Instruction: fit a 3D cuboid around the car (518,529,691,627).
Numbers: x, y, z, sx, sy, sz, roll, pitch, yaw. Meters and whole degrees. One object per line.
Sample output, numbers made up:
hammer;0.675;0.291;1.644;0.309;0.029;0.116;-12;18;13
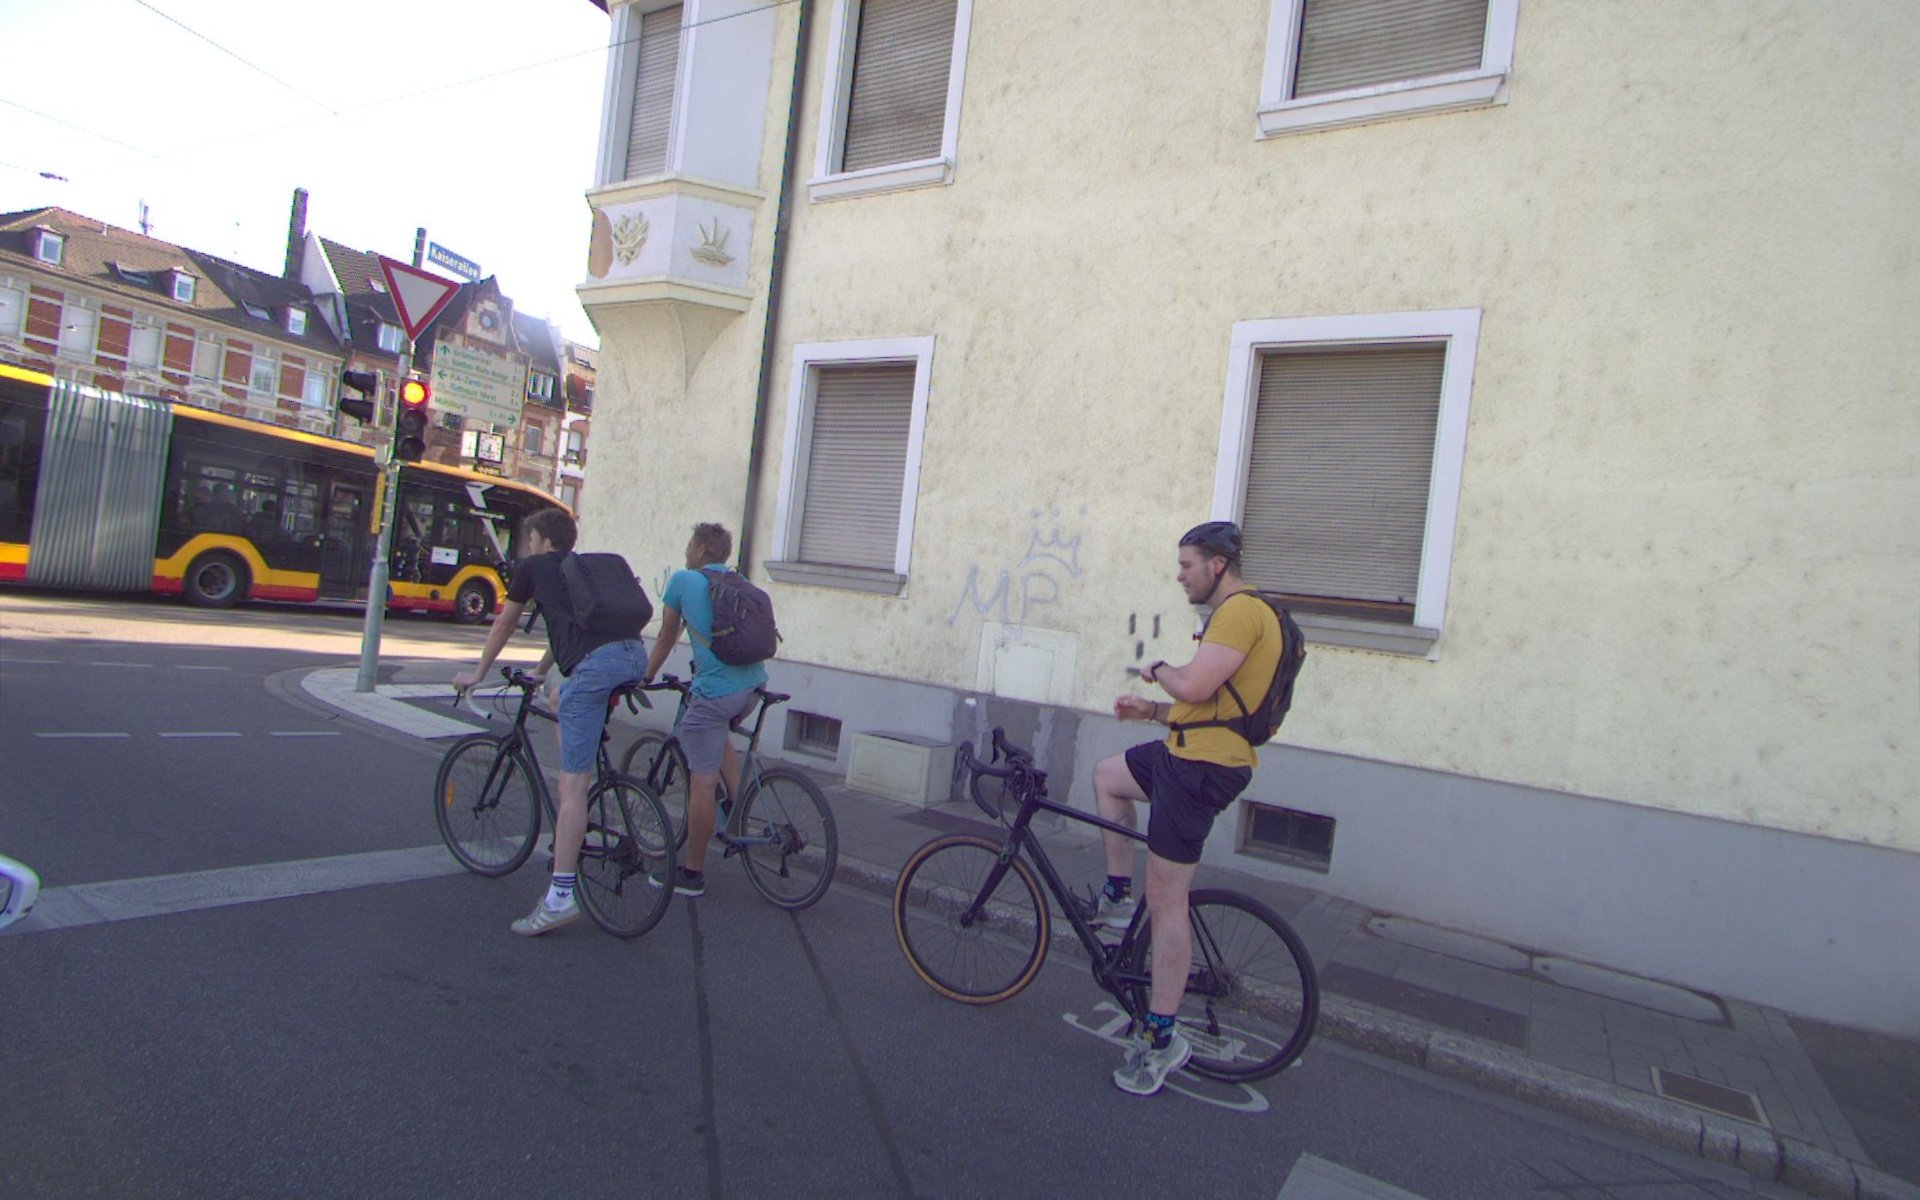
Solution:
car;-11.194;-0.612;32.166;2.043;2.461;5.128;7;-1;24

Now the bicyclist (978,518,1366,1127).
bicyclist;0.771;0.693;3.655;1.019;1.839;0.652;7;0;32

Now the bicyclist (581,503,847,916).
bicyclist;-1.287;0.520;5.270;0.978;1.910;0.652;7;0;32

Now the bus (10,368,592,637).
bus;-12.072;-1.448;20.097;2.729;3.497;9.445;8;-2;24

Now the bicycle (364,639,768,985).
bicycle;-1.800;0.831;4.467;1.858;1.071;0.571;7;0;32

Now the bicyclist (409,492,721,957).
bicyclist;-1.751;0.488;4.469;0.978;1.788;0.652;7;0;32

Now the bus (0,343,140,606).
bus;-15.639;-2.192;11.871;2.737;3.497;8.645;8;-2;24

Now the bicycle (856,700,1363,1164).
bicycle;0.512;1.087;3.772;1.670;1.180;0.571;7;0;32

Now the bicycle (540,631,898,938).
bicycle;-1.310;0.874;5.280;1.858;1.180;0.571;7;0;32
